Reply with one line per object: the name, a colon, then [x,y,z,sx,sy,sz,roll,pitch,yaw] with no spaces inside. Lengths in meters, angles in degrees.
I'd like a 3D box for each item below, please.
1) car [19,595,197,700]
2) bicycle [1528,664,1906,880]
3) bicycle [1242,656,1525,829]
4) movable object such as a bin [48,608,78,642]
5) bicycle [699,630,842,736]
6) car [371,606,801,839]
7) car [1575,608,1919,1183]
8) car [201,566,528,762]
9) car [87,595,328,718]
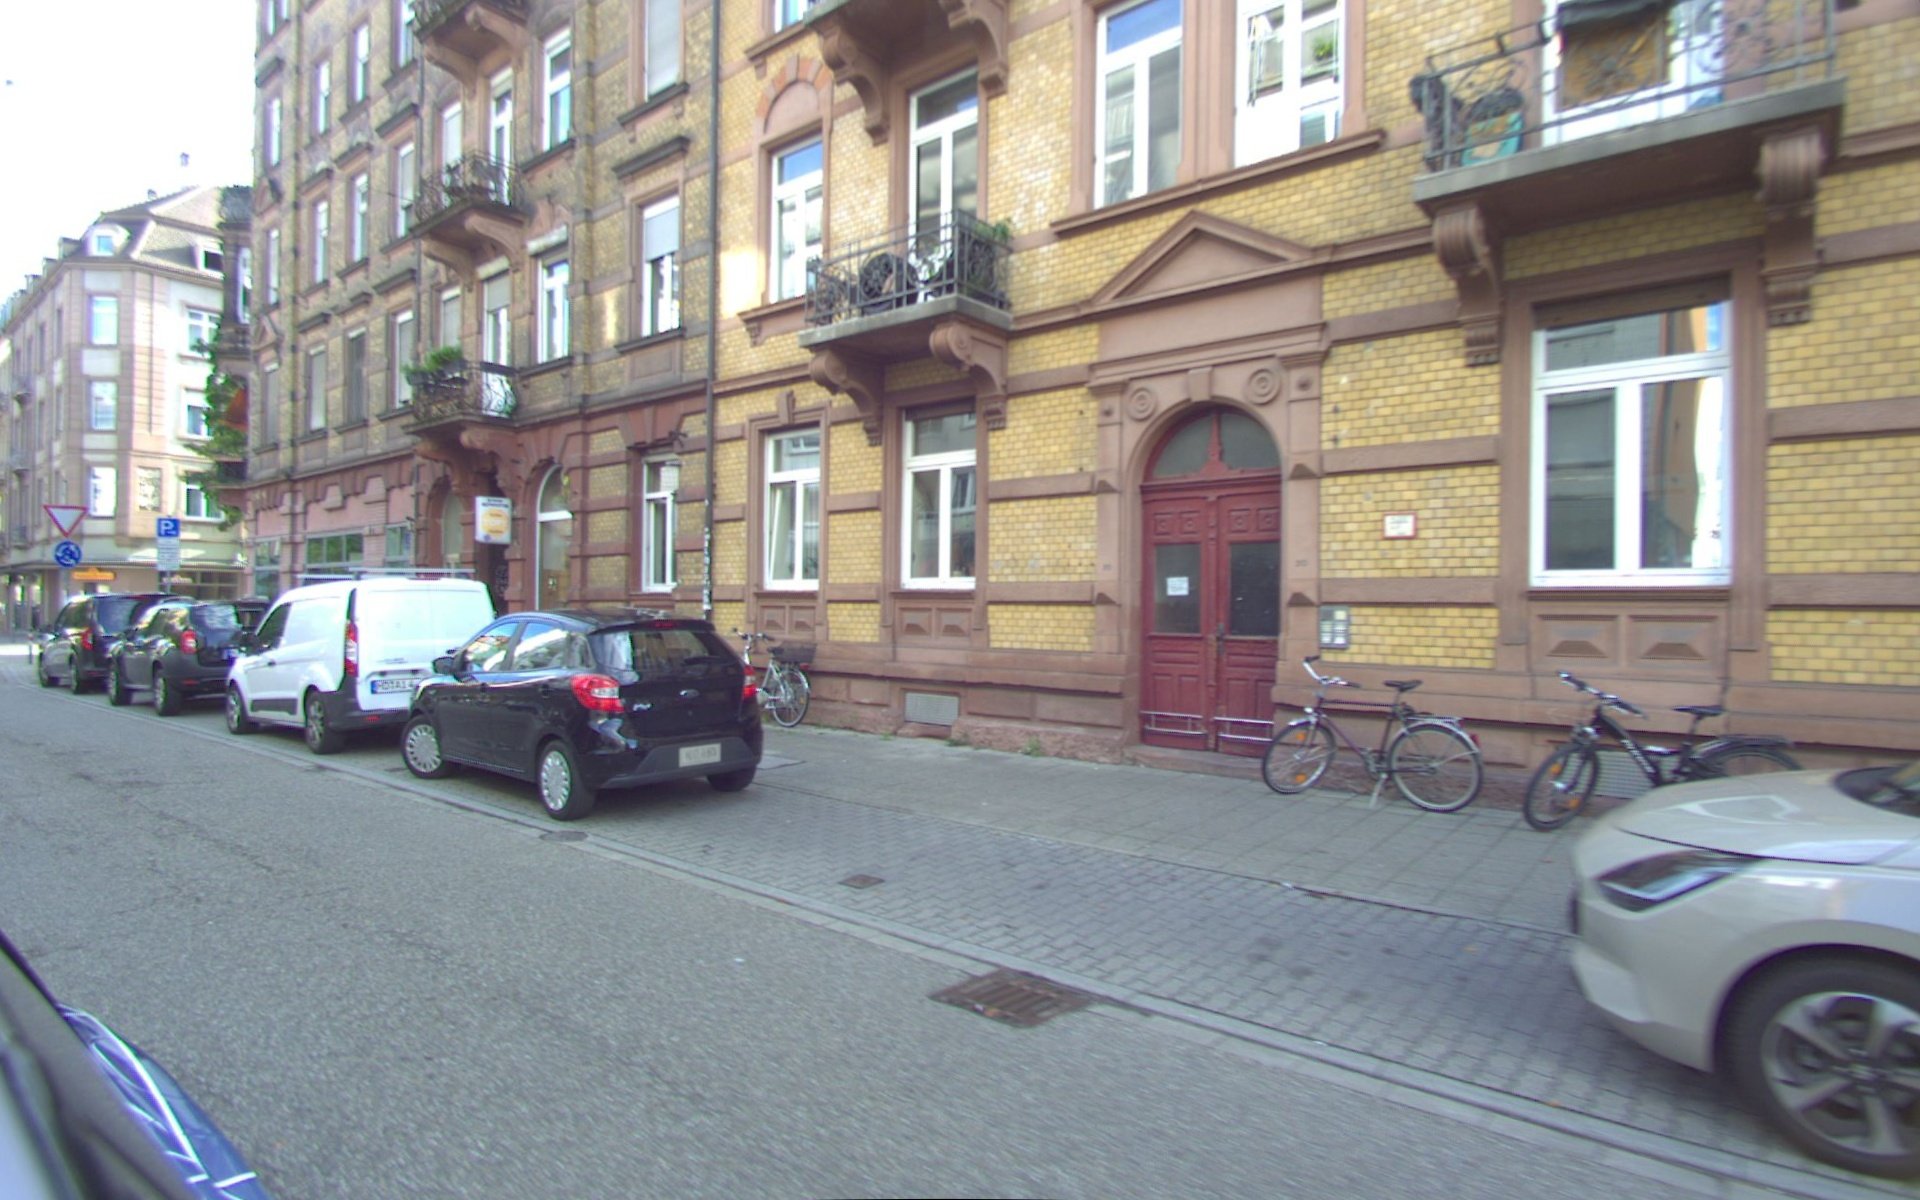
car: [-16.489,0.833,19.510,4.399,1.787,1.743,-1,1,38]
bicycle: [4.641,0.974,6.309,1.771,1.045,0.888,-1,0,41]
bicycle: [3.142,0.993,7.590,1.771,1.045,0.846,-1,1,41]
movable object such as a bin: [-19.276,0.530,21.741,0.475,0.719,0.379,-1,0,35]
bicycle: [-2.352,0.971,12.428,1.999,1.159,0.562,0,1,40]
car: [-3.312,0.816,8.606,3.981,1.495,1.724,0,0,41]
car: [3.997,0.764,2.546,3.980,1.495,1.724,-1,-1,40]
car: [-7.119,0.653,11.915,4.432,1.886,1.901,-1,-1,39]
car: [-11.720,0.819,15.681,4.139,1.650,1.974,-2,-2,38]
